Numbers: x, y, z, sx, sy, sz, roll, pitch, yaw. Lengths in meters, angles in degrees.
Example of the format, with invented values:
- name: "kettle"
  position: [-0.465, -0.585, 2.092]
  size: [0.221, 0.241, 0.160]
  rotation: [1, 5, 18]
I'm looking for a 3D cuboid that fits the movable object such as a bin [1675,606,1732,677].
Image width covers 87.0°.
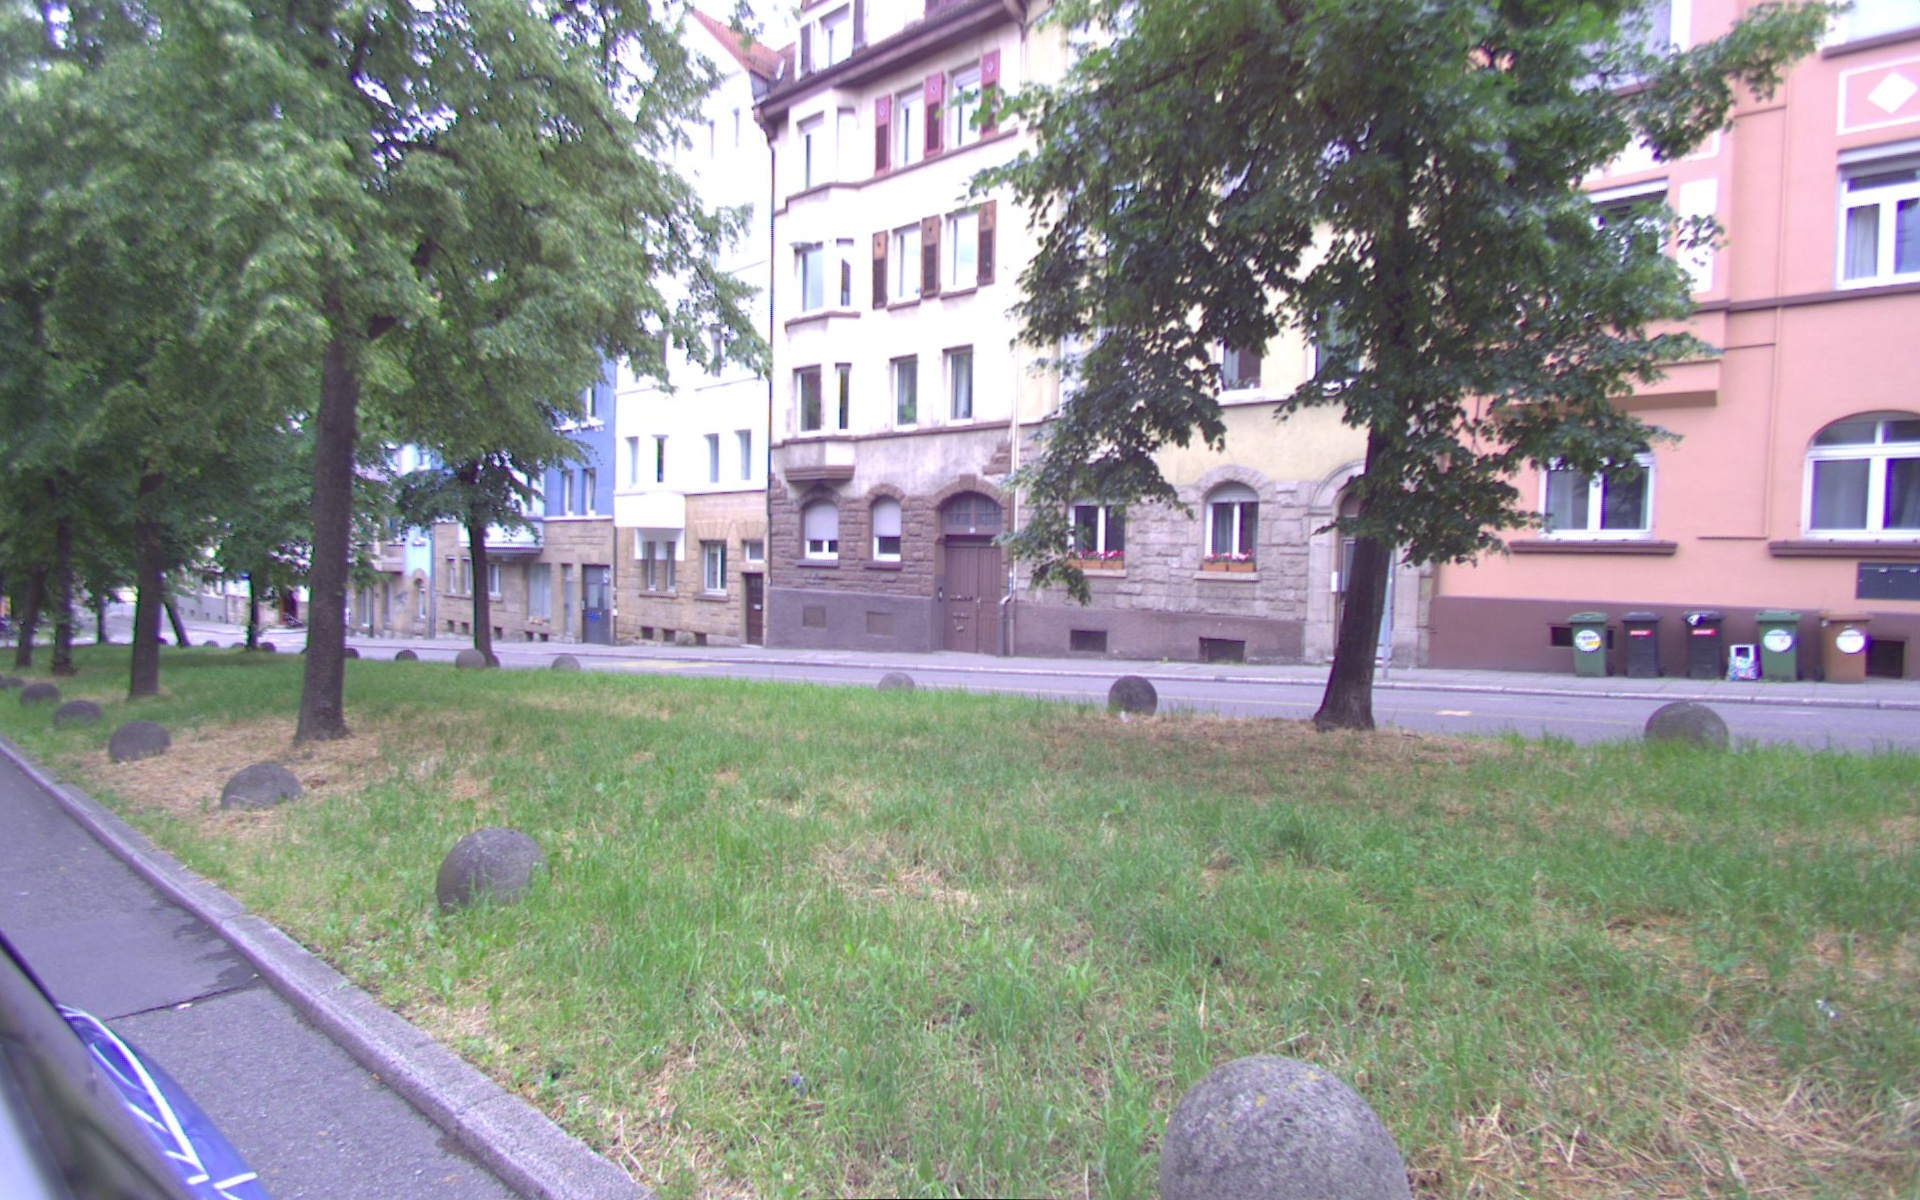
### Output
- name: "movable object such as a bin"
  position: [10.189, 0.557, 13.858]
  size: [0.601, 0.911, 0.603]
  rotation: [-1, 1, 38]

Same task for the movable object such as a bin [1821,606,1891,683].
- name: "movable object such as a bin"
  position: [11.304, 0.548, 12.785]
  size: [0.601, 0.911, 0.603]
  rotation: [-1, 1, 38]

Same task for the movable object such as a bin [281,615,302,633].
- name: "movable object such as a bin"
  position: [-40.263, 1.448, 60.948]
  size: [0.668, 1.001, 0.876]
  rotation: [0, 3, 40]

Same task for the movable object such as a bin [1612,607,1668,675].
- name: "movable object such as a bin"
  position: [9.628, 0.568, 14.327]
  size: [0.601, 0.911, 0.603]
  rotation: [-1, 1, 38]

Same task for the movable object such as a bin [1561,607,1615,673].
- name: "movable object such as a bin"
  position: [9.147, 0.575, 14.741]
  size: [0.601, 0.911, 0.603]
  rotation: [-1, 1, 38]

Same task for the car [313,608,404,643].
- name: "car"
  position: [-33.907, 1.399, 57.148]
  size: [1.870, 1.480, 3.959]
  rotation: [2, 7, 39]

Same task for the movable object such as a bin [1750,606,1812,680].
- name: "movable object such as a bin"
  position: [10.755, 0.554, 13.273]
  size: [0.601, 0.911, 0.603]
  rotation: [-1, 1, 38]
